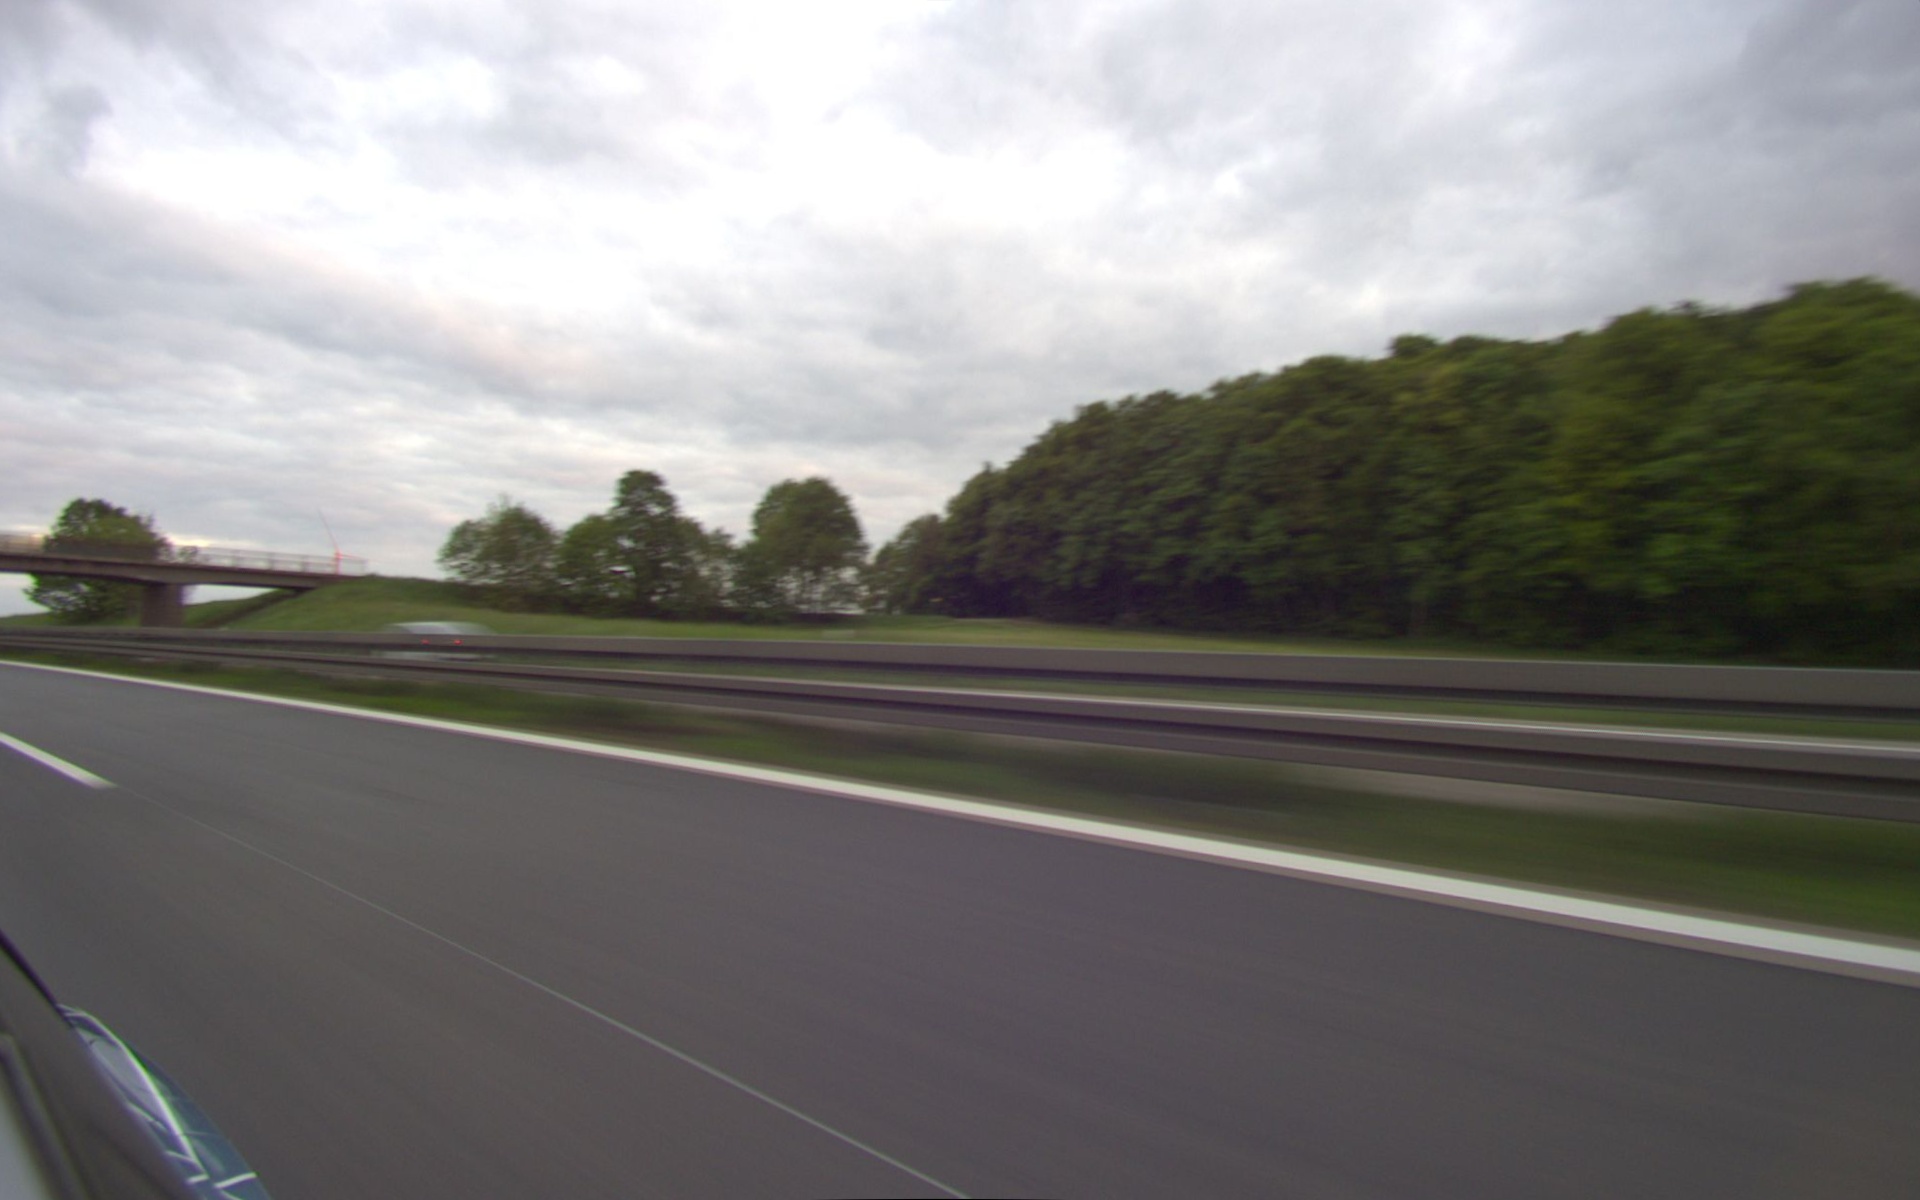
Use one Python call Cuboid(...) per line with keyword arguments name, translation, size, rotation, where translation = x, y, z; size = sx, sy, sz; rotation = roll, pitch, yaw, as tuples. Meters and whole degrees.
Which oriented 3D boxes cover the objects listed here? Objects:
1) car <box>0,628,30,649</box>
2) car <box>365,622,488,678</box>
Cuboid(name="car", translation=(-66.715, 2.681, 70.472), size=(4.666, 1.453, 1.783), rotation=(-1, -2, 34))
Cuboid(name="car", translation=(-16.932, 1.549, 32.026), size=(4.471, 1.652, 1.736), rotation=(-1, -3, 38))
